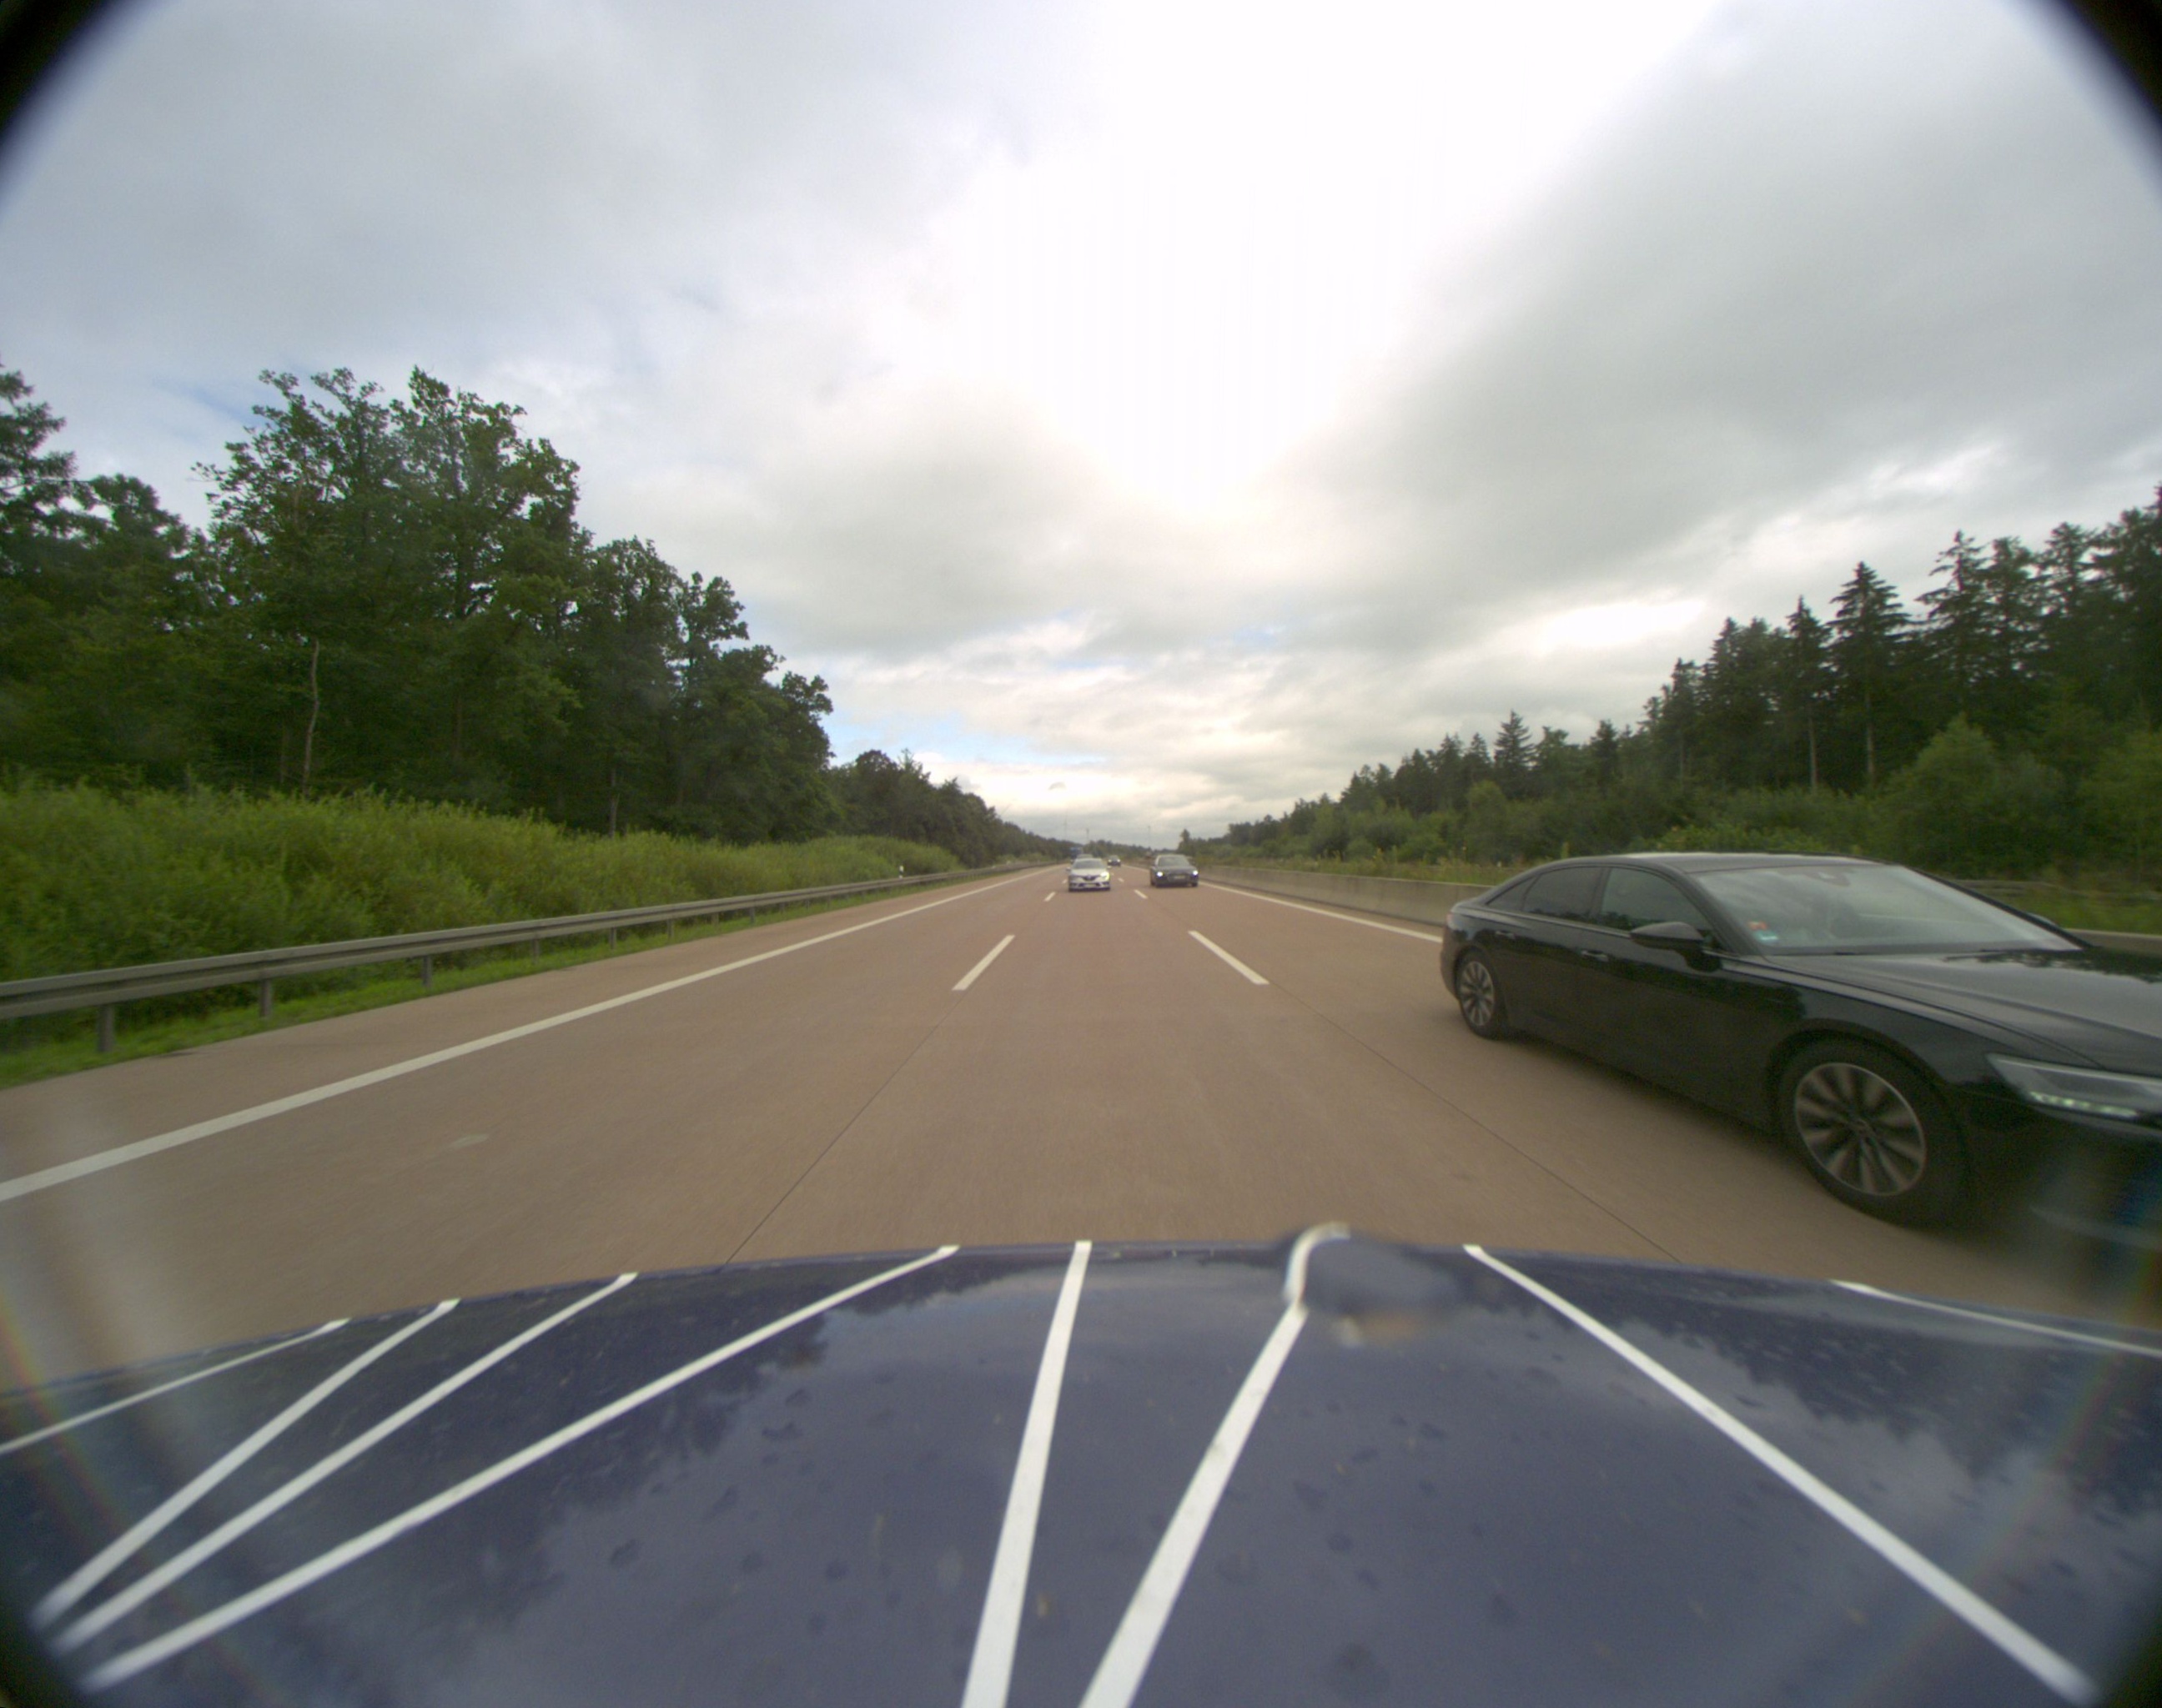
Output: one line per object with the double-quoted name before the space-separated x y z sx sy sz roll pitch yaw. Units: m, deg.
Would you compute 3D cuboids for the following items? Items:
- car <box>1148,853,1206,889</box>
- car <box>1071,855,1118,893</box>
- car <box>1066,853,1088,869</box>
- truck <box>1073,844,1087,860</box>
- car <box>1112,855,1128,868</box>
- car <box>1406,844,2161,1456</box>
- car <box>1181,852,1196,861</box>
"car" 4.450 0.747 36.033 2.064 1.483 5.453 -2 0 1
"car" 0.647 0.853 34.070 1.923 1.516 4.001 -2 0 3
"car" -0.369 0.679 74.298 1.986 1.499 4.052 -2 0 1
"truck" -0.301 -0.455 185.536 2.956 3.705 7.950 -5 0 1
"car" 5.666 1.047 110.563 1.998 1.689 5.252 -2 1 1
"car" 3.979 0.766 4.249 2.090 1.541 5.675 -2 0 3
"car" 20.432 0.514 145.000 2.129 1.582 5.198 -1 0 1
